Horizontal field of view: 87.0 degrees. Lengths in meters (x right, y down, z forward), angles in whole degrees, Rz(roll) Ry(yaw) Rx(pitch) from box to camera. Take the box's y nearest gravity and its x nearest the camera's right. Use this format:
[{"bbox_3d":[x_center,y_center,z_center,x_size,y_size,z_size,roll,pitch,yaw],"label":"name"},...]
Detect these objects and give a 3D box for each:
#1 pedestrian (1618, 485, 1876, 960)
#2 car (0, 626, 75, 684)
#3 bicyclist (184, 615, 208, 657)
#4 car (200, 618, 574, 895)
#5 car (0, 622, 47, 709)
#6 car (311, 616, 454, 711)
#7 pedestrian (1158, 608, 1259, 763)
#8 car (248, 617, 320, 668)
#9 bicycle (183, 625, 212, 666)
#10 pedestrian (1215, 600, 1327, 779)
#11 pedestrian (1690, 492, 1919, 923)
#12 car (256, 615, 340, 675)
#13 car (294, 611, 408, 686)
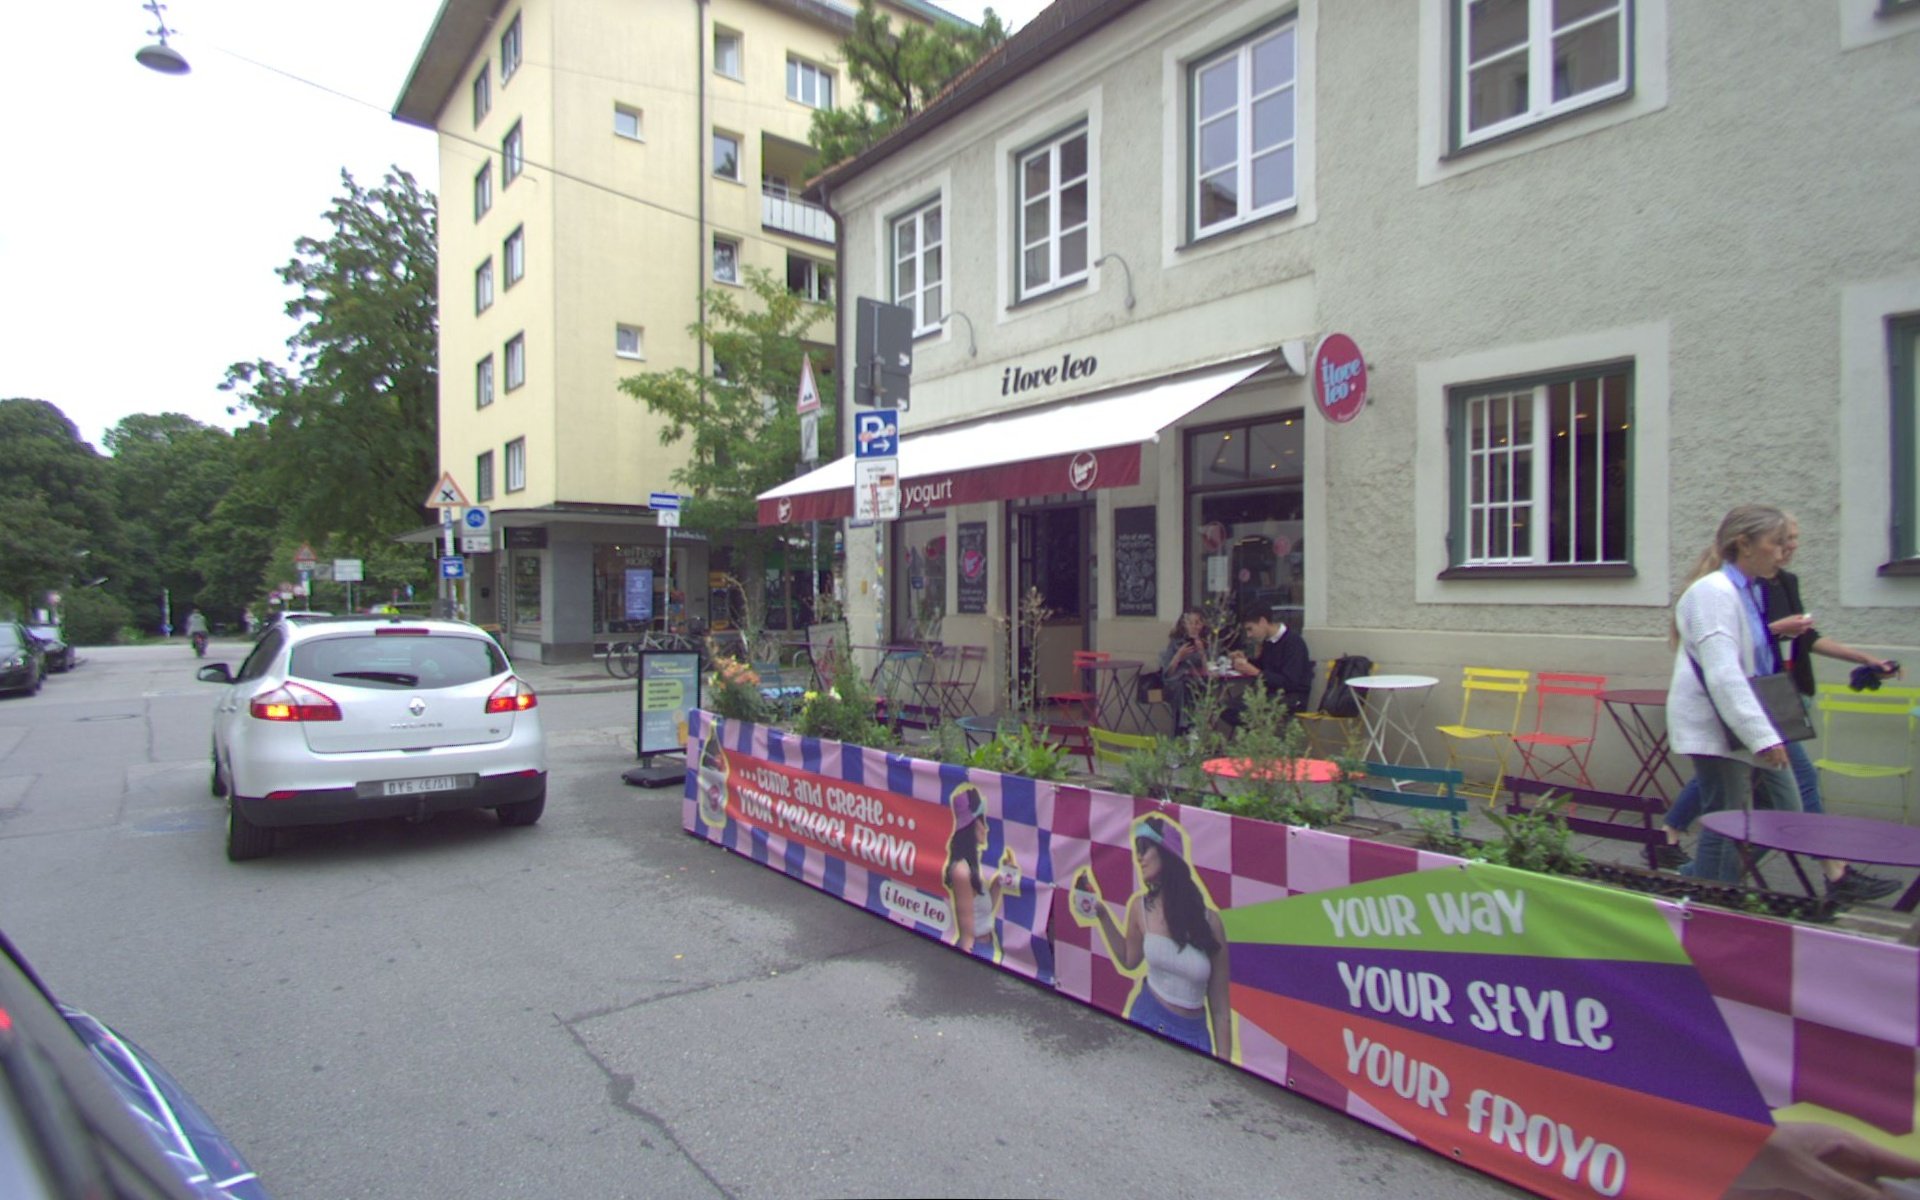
[{"bbox_3d":[3.017,0.417,3.887,0.605,1.610,0.664,0,-1,-42],"label":"pedestrian"},{"bbox_3d":[-26.891,1.536,29.322,1.685,1.511,4.008,0,-1,-38],"label":"car"},{"bbox_3d":[-27.830,1.315,36.875,0.640,1.486,0.768,-1,0,-35],"label":"bicyclist"},{"bbox_3d":[-4.343,0.854,7.358,1.765,1.428,3.913,1,-1,-38],"label":"car"},{"bbox_3d":[-18.631,1.192,19.202,1.685,1.511,4.008,0,-1,-38],"label":"car"},{"bbox_3d":[-10.607,1.050,18.453,1.685,1.511,4.008,0,-1,-38],"label":"car"},{"bbox_3d":[2.075,0.697,8.493,0.501,1.222,0.596,-2,-1,-24],"label":"pedestrian"},{"bbox_3d":[-22.863,1.382,34.162,1.685,1.571,4.008,0,-1,-38],"label":"car"},{"bbox_3d":[-27.898,1.637,37.053,0.678,1.389,2.404,-1,0,-34],"label":"bicycle"},{"bbox_3d":[2.351,0.661,7.686,0.515,1.276,0.549,-2,-1,-24],"label":"pedestrian"},{"bbox_3d":[3.792,0.430,4.461,0.573,1.711,0.807,0,-1,-41],"label":"pedestrian"},{"bbox_3d":[-19.182,1.239,29.258,1.685,1.571,4.008,0,-1,-38],"label":"car"},{"bbox_3d":[-13.735,1.011,22.720,1.685,1.511,4.008,0,-1,-38],"label":"car"}]
